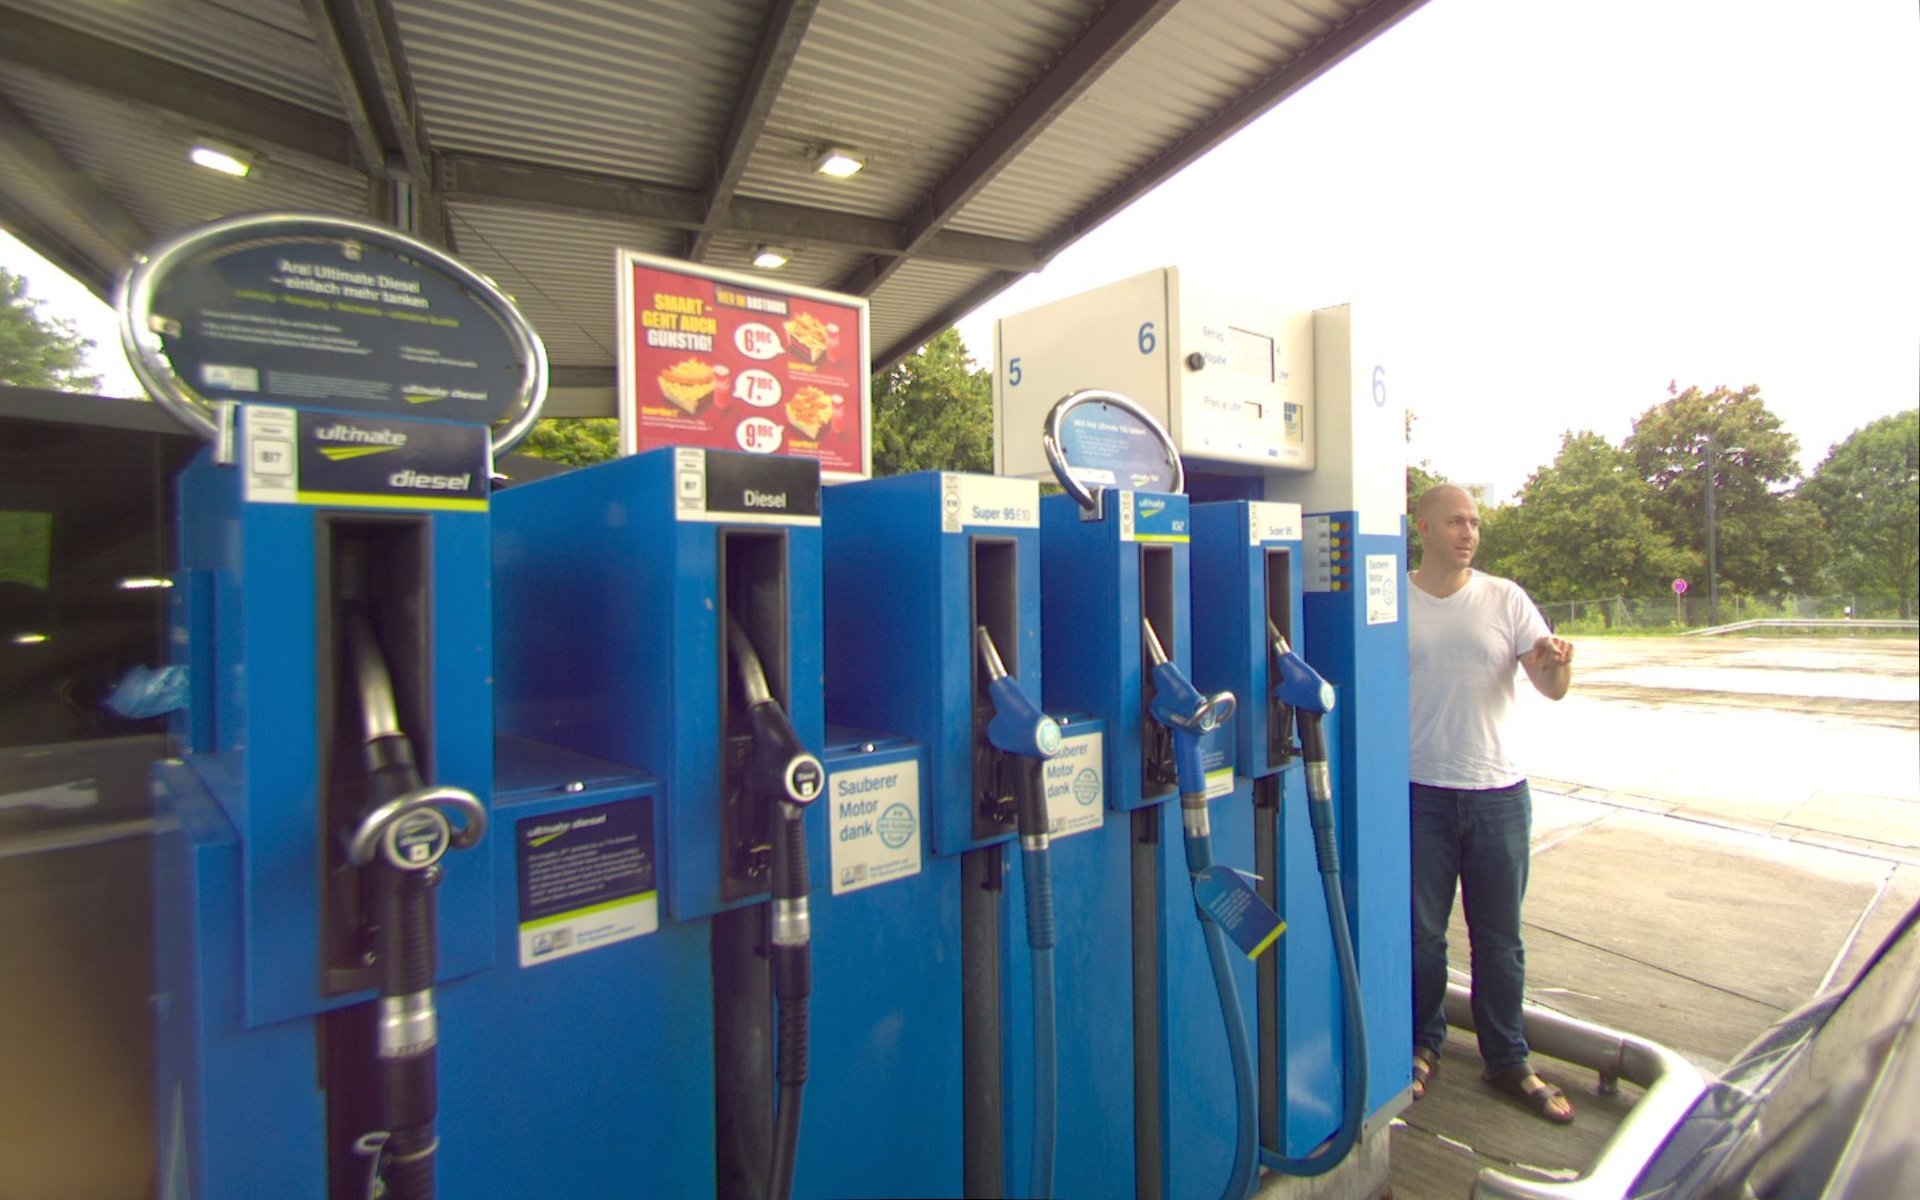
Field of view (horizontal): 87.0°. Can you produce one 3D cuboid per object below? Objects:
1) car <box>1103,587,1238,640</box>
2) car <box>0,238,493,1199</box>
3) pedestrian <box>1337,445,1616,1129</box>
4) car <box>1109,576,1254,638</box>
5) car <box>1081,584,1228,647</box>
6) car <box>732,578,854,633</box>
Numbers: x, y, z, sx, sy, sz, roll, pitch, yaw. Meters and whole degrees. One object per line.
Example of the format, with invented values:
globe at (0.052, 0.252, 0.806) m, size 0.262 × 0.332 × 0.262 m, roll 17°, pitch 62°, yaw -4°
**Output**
car at (6.749, 0.400, 32.341) m, size 4.123 × 1.576 × 1.990 m, roll 0°, pitch 0°, yaw 17°
car at (-3.032, 0.407, 1.478) m, size 3.930 × 1.973 × 1.819 m, roll 0°, pitch 0°, yaw -41°
pedestrian at (1.502, 0.499, 3.025) m, size 0.625 × 1.832 × 0.492 m, roll -1°, pitch 1°, yaw 15°
car at (7.560, 0.213, 34.694) m, size 4.700 × 2.011 × 2.007 m, roll 0°, pitch 0°, yaw 14°
car at (5.800, 0.422, 30.012) m, size 4.123 × 1.752 × 1.990 m, roll 0°, pitch 0°, yaw 17°
car at (-5.562, 0.153, 33.466) m, size 1.967 × 1.683 × 4.170 m, roll 0°, pitch 0°, yaw -44°
